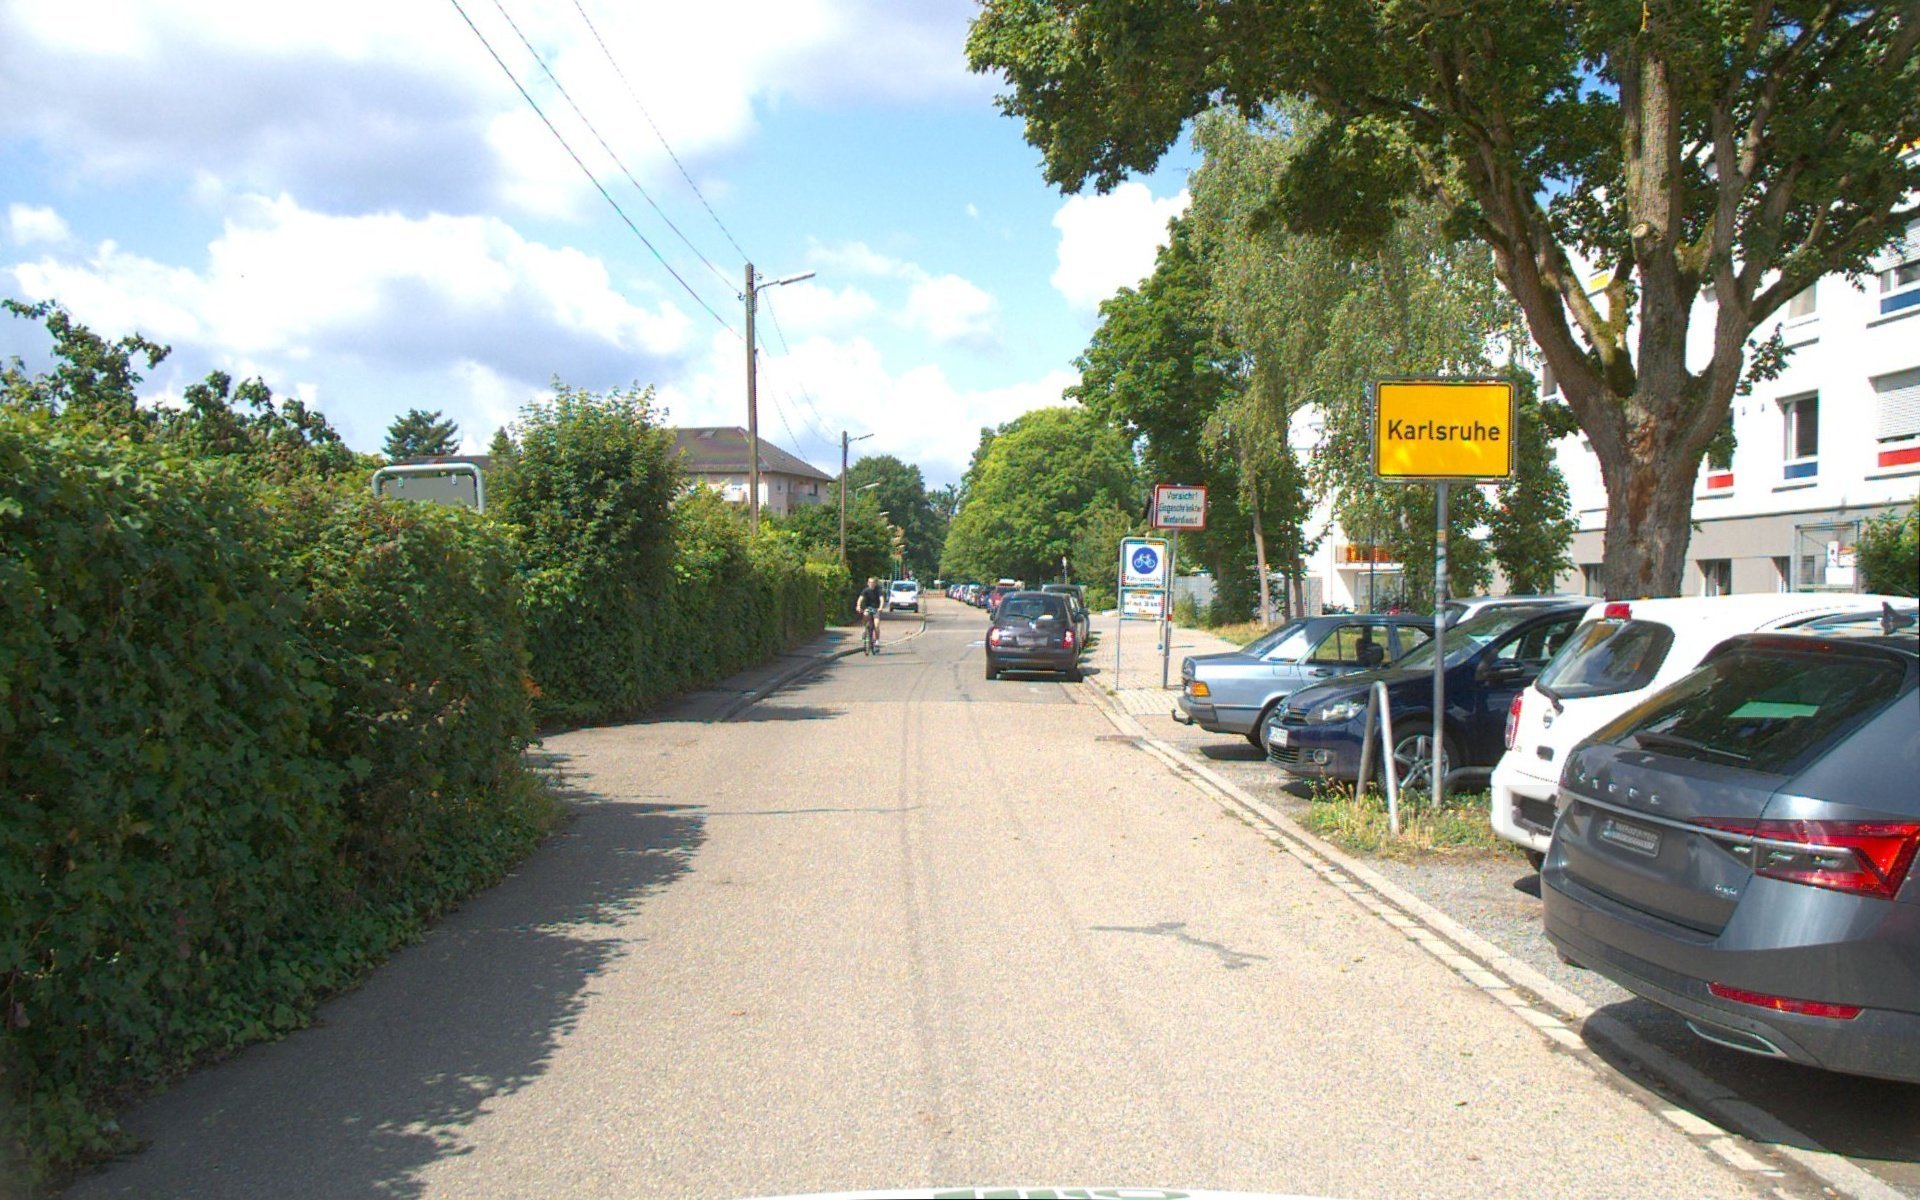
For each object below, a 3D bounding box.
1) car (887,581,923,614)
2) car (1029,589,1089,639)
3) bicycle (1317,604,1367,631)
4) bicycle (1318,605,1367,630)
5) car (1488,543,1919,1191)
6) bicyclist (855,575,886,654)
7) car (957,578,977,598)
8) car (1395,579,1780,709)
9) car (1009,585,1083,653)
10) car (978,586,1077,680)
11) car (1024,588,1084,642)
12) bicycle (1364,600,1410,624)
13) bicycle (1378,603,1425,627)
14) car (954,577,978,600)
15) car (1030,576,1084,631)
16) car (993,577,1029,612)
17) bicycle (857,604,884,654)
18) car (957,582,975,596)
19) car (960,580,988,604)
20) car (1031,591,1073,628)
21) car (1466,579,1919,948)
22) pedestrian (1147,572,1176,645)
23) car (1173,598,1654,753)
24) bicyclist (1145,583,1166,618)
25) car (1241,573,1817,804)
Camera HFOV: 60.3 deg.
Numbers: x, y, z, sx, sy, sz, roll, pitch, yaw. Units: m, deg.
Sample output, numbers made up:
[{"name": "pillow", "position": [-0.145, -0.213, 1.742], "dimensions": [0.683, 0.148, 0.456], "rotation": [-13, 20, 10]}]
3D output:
[{"name": "car", "position": [-3.252, -0.164, 98.155], "dimensions": [1.863, 1.846, 4.001], "rotation": [2, 0, 1]}, {"name": "car", "position": [3.090, 0.415, 52.263], "dimensions": [1.629, 1.460, 3.541], "rotation": [2, 0, 0]}, {"name": "bicycle", "position": [16.743, 0.774, 72.538], "dimensions": [2.045, 1.139, 0.625], "rotation": [-1, 0, 3]}, {"name": "bicycle", "position": [17.112, 0.773, 74.031], "dimensions": [2.004, 1.098, 0.688], "rotation": [-1, 0, 2]}, {"name": "car", "position": [4.172, 0.724, 5.130], "dimensions": [4.458, 1.606, 1.808], "rotation": [2, 0, -3]}, {"name": "bicyclist", "position": [-2.187, 0.345, 40.499], "dimensions": [0.645, 1.884, 1.043], "rotation": [-1, 0, 1]}, {"name": "car", "position": [0.732, -1.320, 177.802], "dimensions": [1.953, 2.049, 3.999], "rotation": [2, 0, -2]}, {"name": "car", "position": [7.801, 0.521, 20.797], "dimensions": [4.155, 1.455, 1.758], "rotation": [-1, 0, -2]}, {"name": "car", "position": [2.188, 0.464, 41.519], "dimensions": [1.628, 1.579, 3.639], "rotation": [2, 0, 6]}, {"name": "car", "position": [1.266, 0.553, 30.005], "dimensions": [1.628, 1.532, 4.002], "rotation": [2, 0, 3]}, {"name": "car", "position": [2.714, 0.409, 47.554], "dimensions": [1.628, 1.464, 3.746], "rotation": [2, 0, 3]}, {"name": "bicycle", "position": [20.556, 0.576, 79.670], "dimensions": [2.004, 1.098, 0.688], "rotation": [-1, 0, 2]}, {"name": "bicycle", "position": [20.460, 0.696, 76.726], "dimensions": [2.004, 1.098, 0.688], "rotation": [-1, 0, 2]}, {"name": "car", "position": [0.582, -0.991, 148.014], "dimensions": [2.015, 1.996, 4.541], "rotation": [2, 0, 1]}, {"name": "car", "position": [3.500, 0.118, 59.482], "dimensions": [1.835, 1.837, 3.434], "rotation": [2, 0, 3]}, {"name": "car", "position": [3.005, -0.305, 98.307], "dimensions": [2.015, 1.960, 4.541], "rotation": [2, 0, 1]}, {"name": "bicycle", "position": [-2.183, 0.693, 40.605], "dimensions": [0.507, 1.170, 1.827], "rotation": [-1, 0, 1]}, {"name": "car", "position": [0.736, -1.260, 192.557], "dimensions": [1.813, 1.646, 4.002], "rotation": [2, 0, 3]}, {"name": "car", "position": [1.069, -0.564, 122.849], "dimensions": [2.015, 1.681, 4.541], "rotation": [2, 0, 1]}, {"name": "car", "position": [4.046, 0.395, 73.163], "dimensions": [1.644, 1.545, 4.001], "rotation": [2, 0, 1]}, {"name": "car", "position": [4.522, 0.746, 8.127], "dimensions": [3.504, 1.576, 1.665], "rotation": [2, 0, -5]}, {"name": "pedestrian", "position": [5.023, 0.213, 41.174], "dimensions": [0.597, 1.776, 0.722], "rotation": [2, 0, 12]}, {"name": "car", "position": [4.290, 0.703, 16.151], "dimensions": [4.267, 1.416, 1.719], "rotation": [0, 0, 3]}, {"name": "bicyclist", "position": [10.179, 0.021, 86.162], "dimensions": [0.770, 1.817, 0.892], "rotation": [2, 0, 31]}, {"name": "car", "position": [4.343, 0.654, 13.043], "dimensions": [3.855, 1.586, 1.867], "rotation": [2, 0, -3]}]
